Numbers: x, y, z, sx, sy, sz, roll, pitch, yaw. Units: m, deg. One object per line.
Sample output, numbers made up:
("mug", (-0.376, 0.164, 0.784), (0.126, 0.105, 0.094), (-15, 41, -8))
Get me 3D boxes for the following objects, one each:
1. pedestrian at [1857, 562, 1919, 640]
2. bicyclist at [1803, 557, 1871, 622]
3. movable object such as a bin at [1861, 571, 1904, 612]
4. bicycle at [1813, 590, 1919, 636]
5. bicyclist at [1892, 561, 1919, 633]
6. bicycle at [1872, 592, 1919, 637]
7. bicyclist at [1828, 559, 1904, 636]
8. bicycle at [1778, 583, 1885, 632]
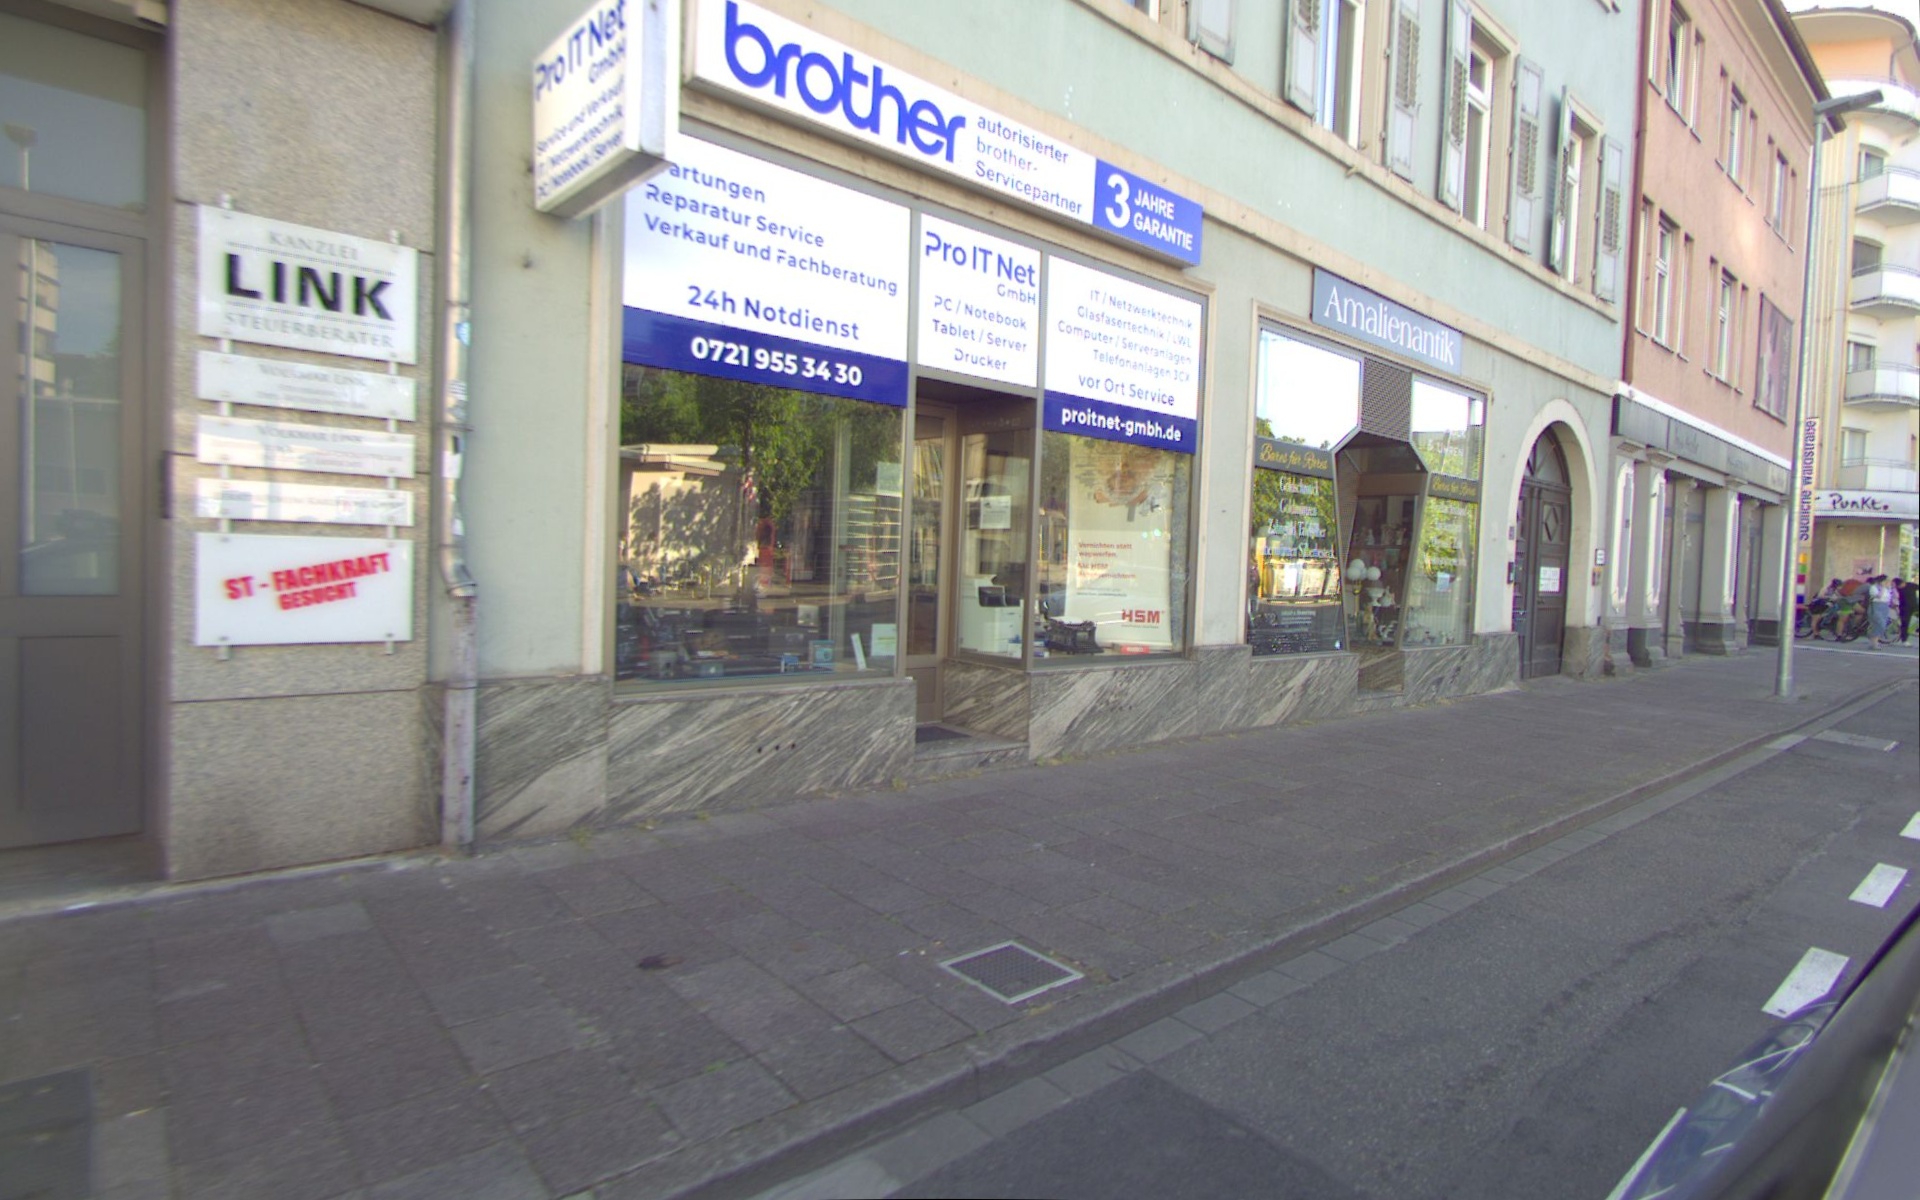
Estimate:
("pedestrian", (20.678, 0.008, 22.444), (0.751, 1.679, 0.816), (1, 2, -4))
("bicyclist", (22.183, -0.282, 25.613), (0.711, 1.602, 1.033), (1, 2, -19))
("movable object such as a bin", (25.918, -0.256, 28.439), (0.610, 1.126, 0.809), (-1, 3, -42))
("bicycle", (21.880, 0.300, 24.473), (1.805, 1.006, 0.559), (3, 2, 28))
("bicyclist", (23.135, -0.054, 24.072), (0.711, 1.705, 1.135), (1, 2, -13))
("bicycle", (23.189, 0.373, 24.280), (0.548, 1.032, 1.920), (1, 3, -13))
("bicyclist", (21.883, -0.075, 24.473), (1.131, 1.782, 0.746), (3, 2, 28))
("bicycle", (22.125, 0.174, 25.741), (0.718, 1.110, 1.925), (1, 2, -19))
